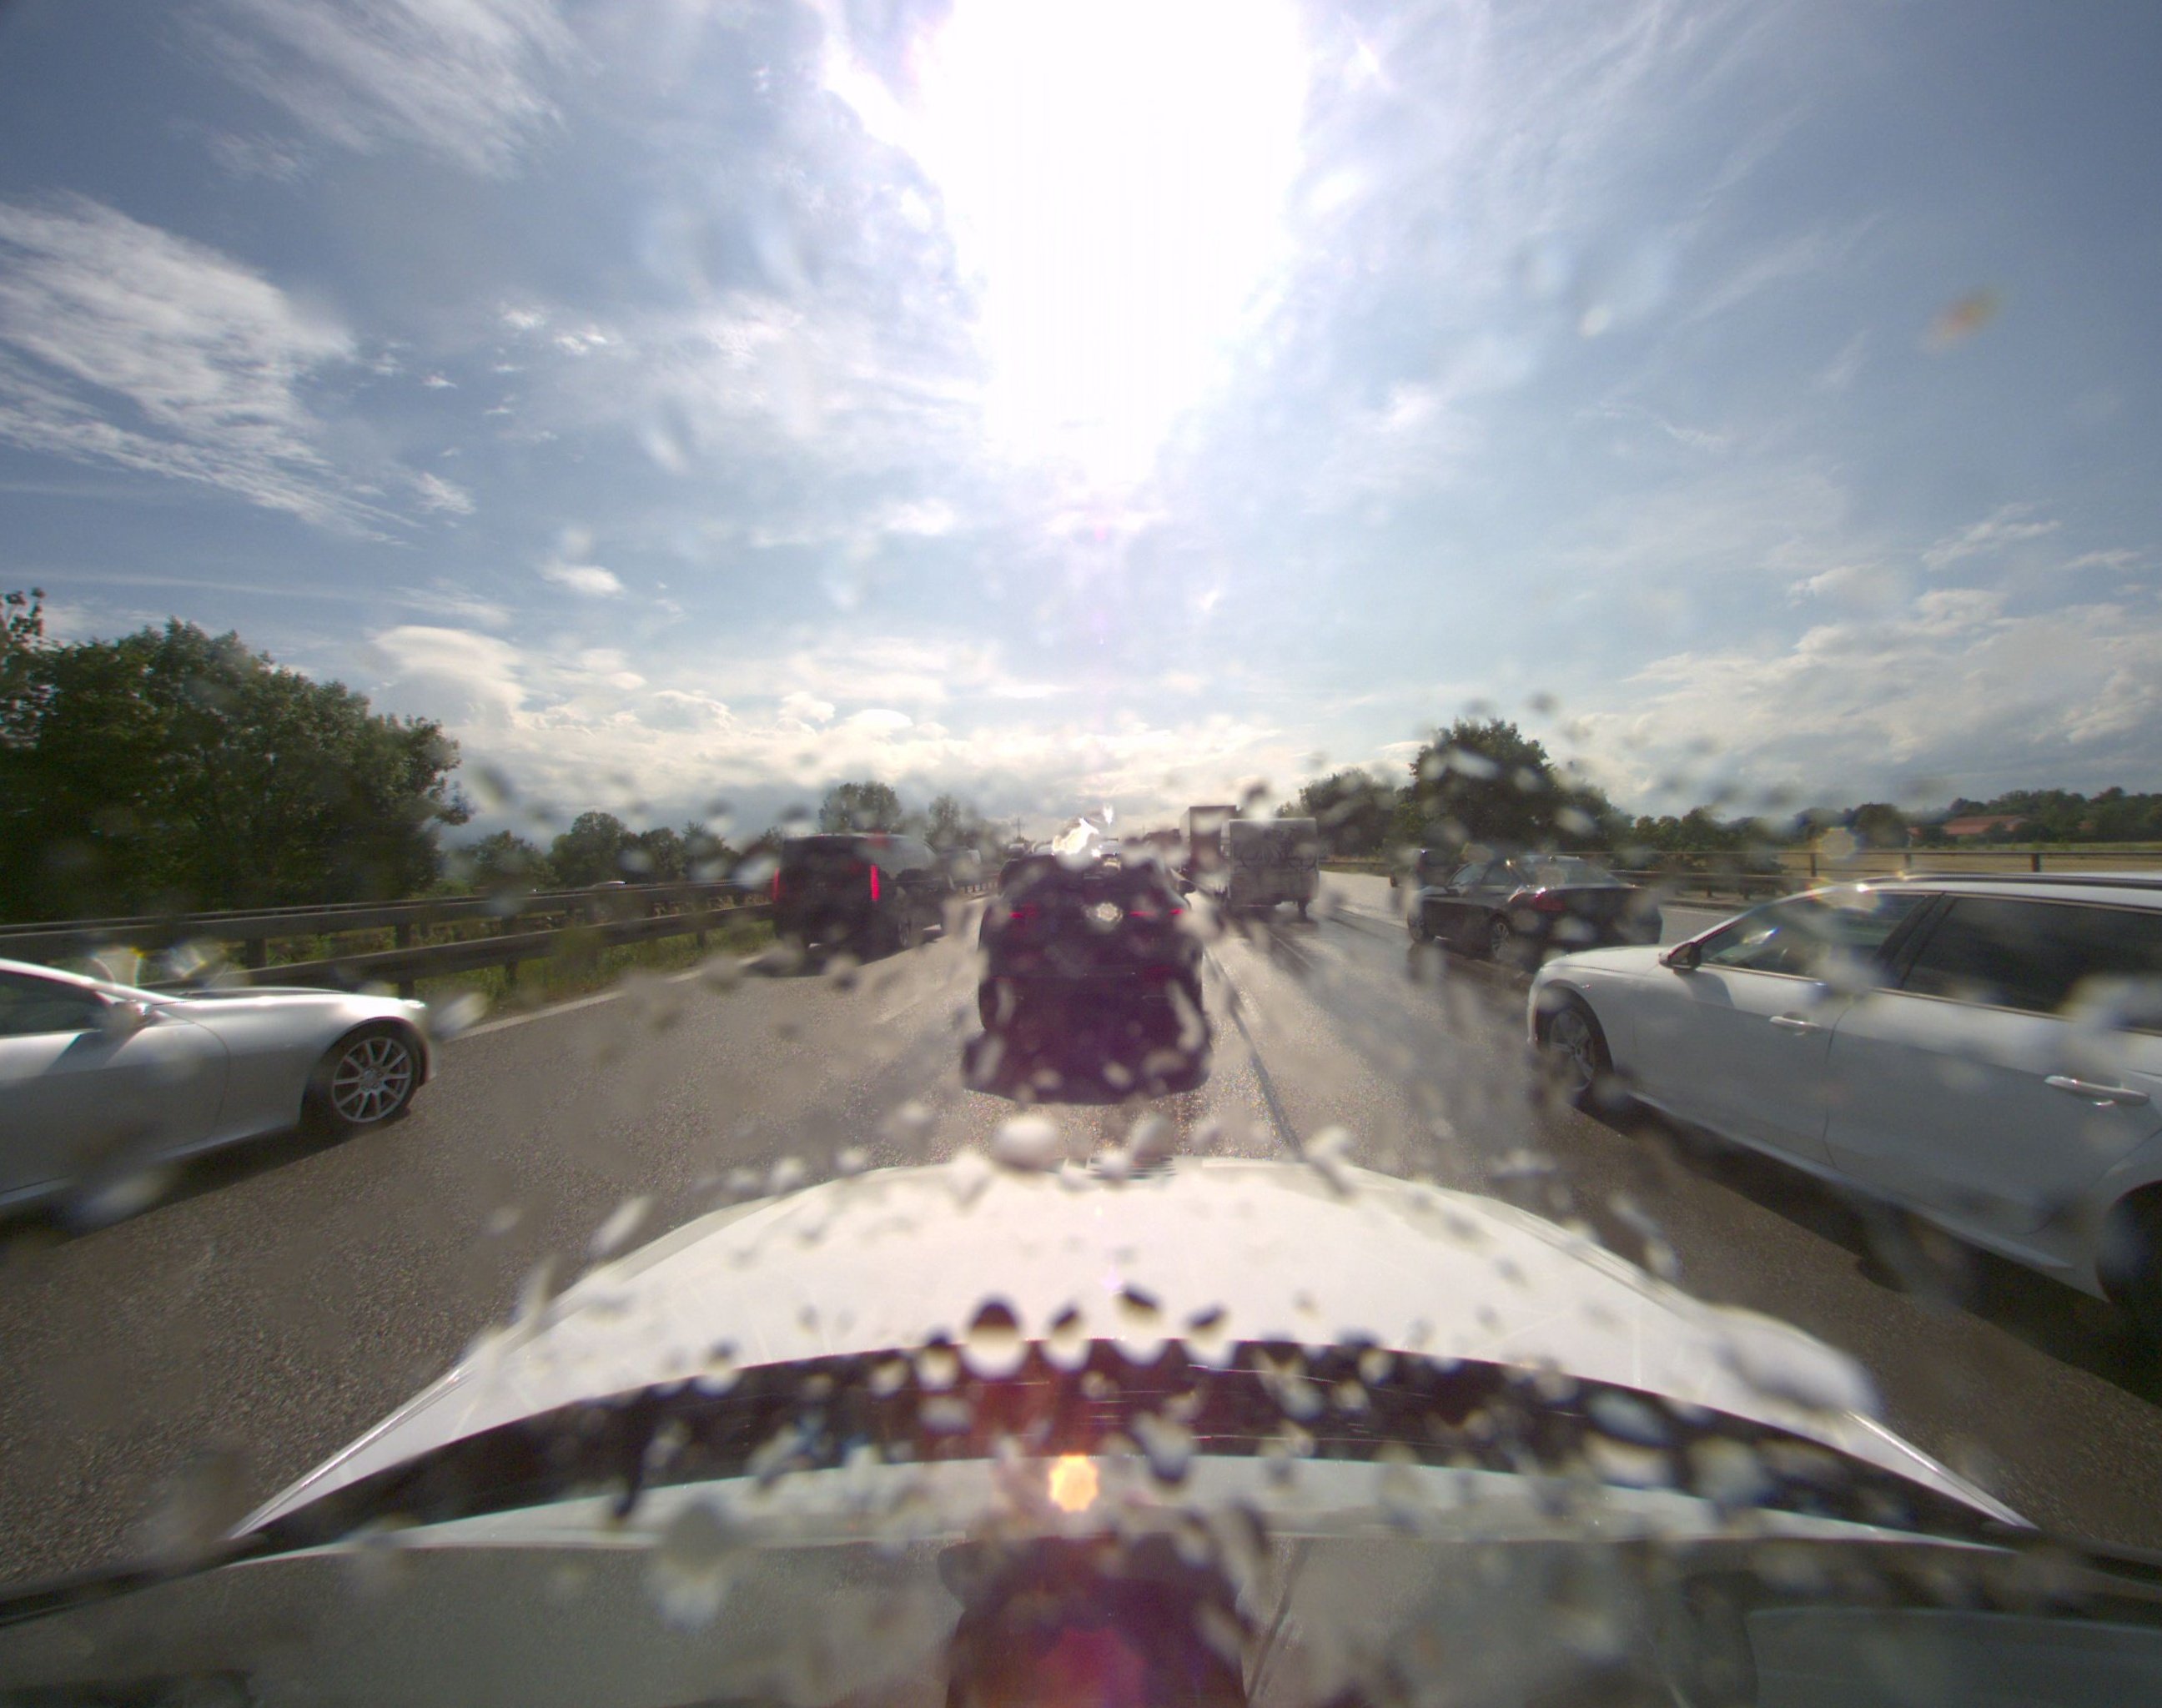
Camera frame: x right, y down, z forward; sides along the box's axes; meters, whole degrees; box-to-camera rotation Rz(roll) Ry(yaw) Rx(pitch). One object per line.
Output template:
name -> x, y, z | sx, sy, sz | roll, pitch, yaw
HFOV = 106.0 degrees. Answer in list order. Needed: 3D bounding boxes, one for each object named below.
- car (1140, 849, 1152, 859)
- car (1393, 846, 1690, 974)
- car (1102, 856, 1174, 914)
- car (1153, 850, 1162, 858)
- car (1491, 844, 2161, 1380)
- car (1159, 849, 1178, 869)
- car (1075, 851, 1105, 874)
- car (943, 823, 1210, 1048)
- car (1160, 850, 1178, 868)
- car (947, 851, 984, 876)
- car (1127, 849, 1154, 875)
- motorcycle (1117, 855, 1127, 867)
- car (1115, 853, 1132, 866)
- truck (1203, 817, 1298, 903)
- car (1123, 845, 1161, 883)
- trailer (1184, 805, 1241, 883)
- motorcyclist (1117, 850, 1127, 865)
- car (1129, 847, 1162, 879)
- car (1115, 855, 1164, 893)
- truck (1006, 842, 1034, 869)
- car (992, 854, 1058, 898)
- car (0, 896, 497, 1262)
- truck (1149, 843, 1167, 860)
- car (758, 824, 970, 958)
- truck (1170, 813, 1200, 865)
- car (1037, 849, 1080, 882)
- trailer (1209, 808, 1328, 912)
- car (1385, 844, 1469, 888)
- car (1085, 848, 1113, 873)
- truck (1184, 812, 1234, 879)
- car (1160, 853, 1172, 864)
car -> 11.589, 0.002, 145.007 | 1.868, 1.760, 4.002 | -1, 0, 2
car -> 6.302, 0.681, 11.832 | 1.843, 1.464, 4.254 | -2, 0, -1
car -> 1.619, 0.772, 22.128 | 1.748, 1.387, 3.952 | -1, 0, 6
car -> 17.019, 0.102, 180.726 | 1.868, 1.760, 4.002 | -1, 0, 2
car -> 3.775, 0.689, 3.370 | 1.821, 1.425, 4.509 | -1, -1, -1
car -> 9.537, 0.536, 88.338 | 1.983, 2.013, 4.007 | 0, 0, 6
car -> 0.715, 0.663, 64.273 | 1.983, 1.772, 4.007 | 0, 0, 6
car -> 0.154, 0.633, 8.327 | 1.984, 1.661, 4.412 | -1, 0, 5
car -> 10.664, 0.583, 98.768 | 1.983, 2.013, 4.007 | 2, 0, 6
car -> -9.960, 0.761, 70.705 | 1.984, 2.013, 5.565 | -2, 0, 5
car -> 4.812, 0.624, 65.514 | 1.983, 2.013, 4.007 | 0, 0, 6
motorcycle -> 4.678, 0.783, 92.241 | 1.069, 1.271, 2.693 | -1, 0, 4
car -> 5.575, 0.710, 105.776 | 1.983, 1.616, 4.007 | 2, 0, 6
truck -> 5.354, 0.193, 26.547 | 2.363, 2.477, 5.764 | -1, 0, 5
car -> 3.472, 0.553, 45.999 | 1.983, 2.013, 4.007 | -1, 0, 6
trailer -> 7.604, -0.532, 47.908 | 2.990, 4.166, 8.553 | -1, 0, 7
motorcyclist -> 4.678, 0.385, 92.325 | 1.059, 1.718, 0.786 | -1, -1, 3
car -> 4.381, 0.586, 54.809 | 1.983, 2.013, 4.007 | 2, 0, 6
car -> 2.365, 0.744, 32.060 | 1.797, 1.407, 4.006 | -1, 0, 5
truck -> -9.230, 0.260, 123.679 | 2.848, 3.821, 7.888 | -1, -1, 5
car -> -2.048, 0.779, 30.826 | 1.748, 1.516, 4.216 | -1, 0, 6
car -> -4.987, 0.948, 3.528 | 1.716, 1.278, 4.069 | -1, 0, 5
truck -> 19.210, -0.604, 203.854 | 3.829, 4.017, 11.224 | -1, 0, 1
car -> -3.693, 0.575, 15.096 | 1.983, 2.013, 5.278 | -1, 0, 6
truck -> 10.054, -1.381, 79.333 | 2.491, 4.829, 7.551 | -1, 0, 4
car -> -1.213, 0.618, 45.635 | 1.985, 1.720, 4.004 | -1, 0, 4
trailer -> 5.014, 0.170, 22.823 | 2.363, 2.483, 6.532 | -1, 0, 5
car -> 13.271, 0.452, 31.453 | 1.839, 1.568, 4.006 | 0, 0, 5
car -> 1.611, 0.523, 71.082 | 1.983, 2.013, 4.007 | 2, 0, 6
truck -> 8.320, -0.533, 53.419 | 2.979, 4.166, 5.251 | -1, 0, 7
car -> 14.461, 0.727, 138.567 | 1.868, 1.760, 4.002 | -1, 0, 2
